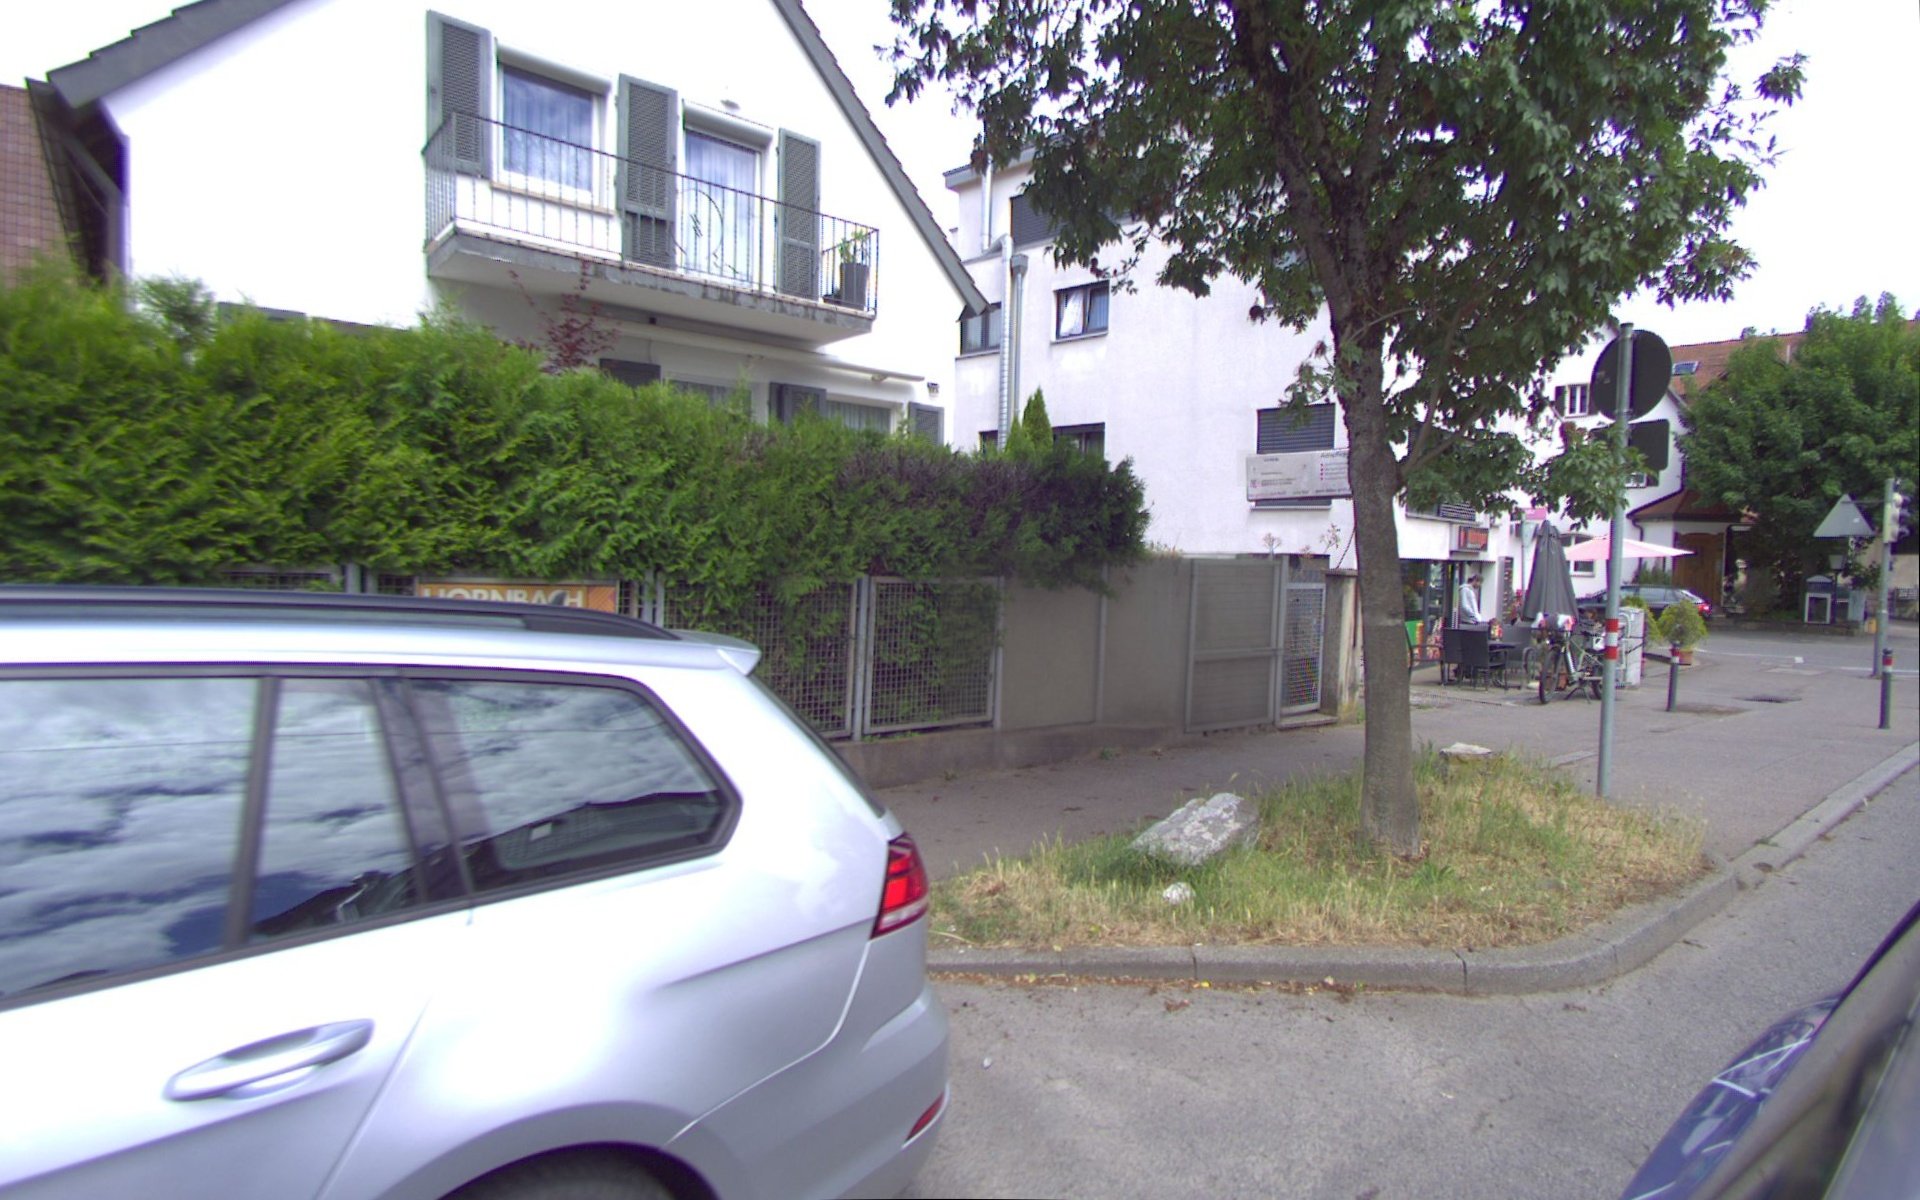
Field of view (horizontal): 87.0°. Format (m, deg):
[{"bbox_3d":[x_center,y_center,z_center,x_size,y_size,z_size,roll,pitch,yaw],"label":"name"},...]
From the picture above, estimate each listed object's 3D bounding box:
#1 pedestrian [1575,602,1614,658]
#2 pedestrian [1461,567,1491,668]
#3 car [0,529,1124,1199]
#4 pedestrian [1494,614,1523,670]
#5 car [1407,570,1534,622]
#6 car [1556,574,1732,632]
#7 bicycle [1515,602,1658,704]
[{"bbox_3d":[13.056,0.611,20.834,0.562,1.102,0.629,2,2,25],"label":"pedestrian"},{"bbox_3d":[9.314,0.300,18.270,0.425,1.783,0.669,2,2,29],"label":"pedestrian"},{"bbox_3d":[-2.026,0.657,1.311,4.785,1.499,1.704,0,1,-40],"label":"car"},{"bbox_3d":[9.795,0.740,18.068,0.416,0.949,0.492,2,2,29],"label":"pedestrian"},{"bbox_3d":[16.437,-0.170,32.621,3.407,1.504,1.630,3,3,38],"label":"car"},{"bbox_3d":[20.170,0.055,30.006,4.158,1.433,1.757,4,2,34],"label":"car"},{"bbox_3d":[8.091,0.640,13.036,2.171,1.164,0.723,-1,2,-35],"label":"bicycle"}]
